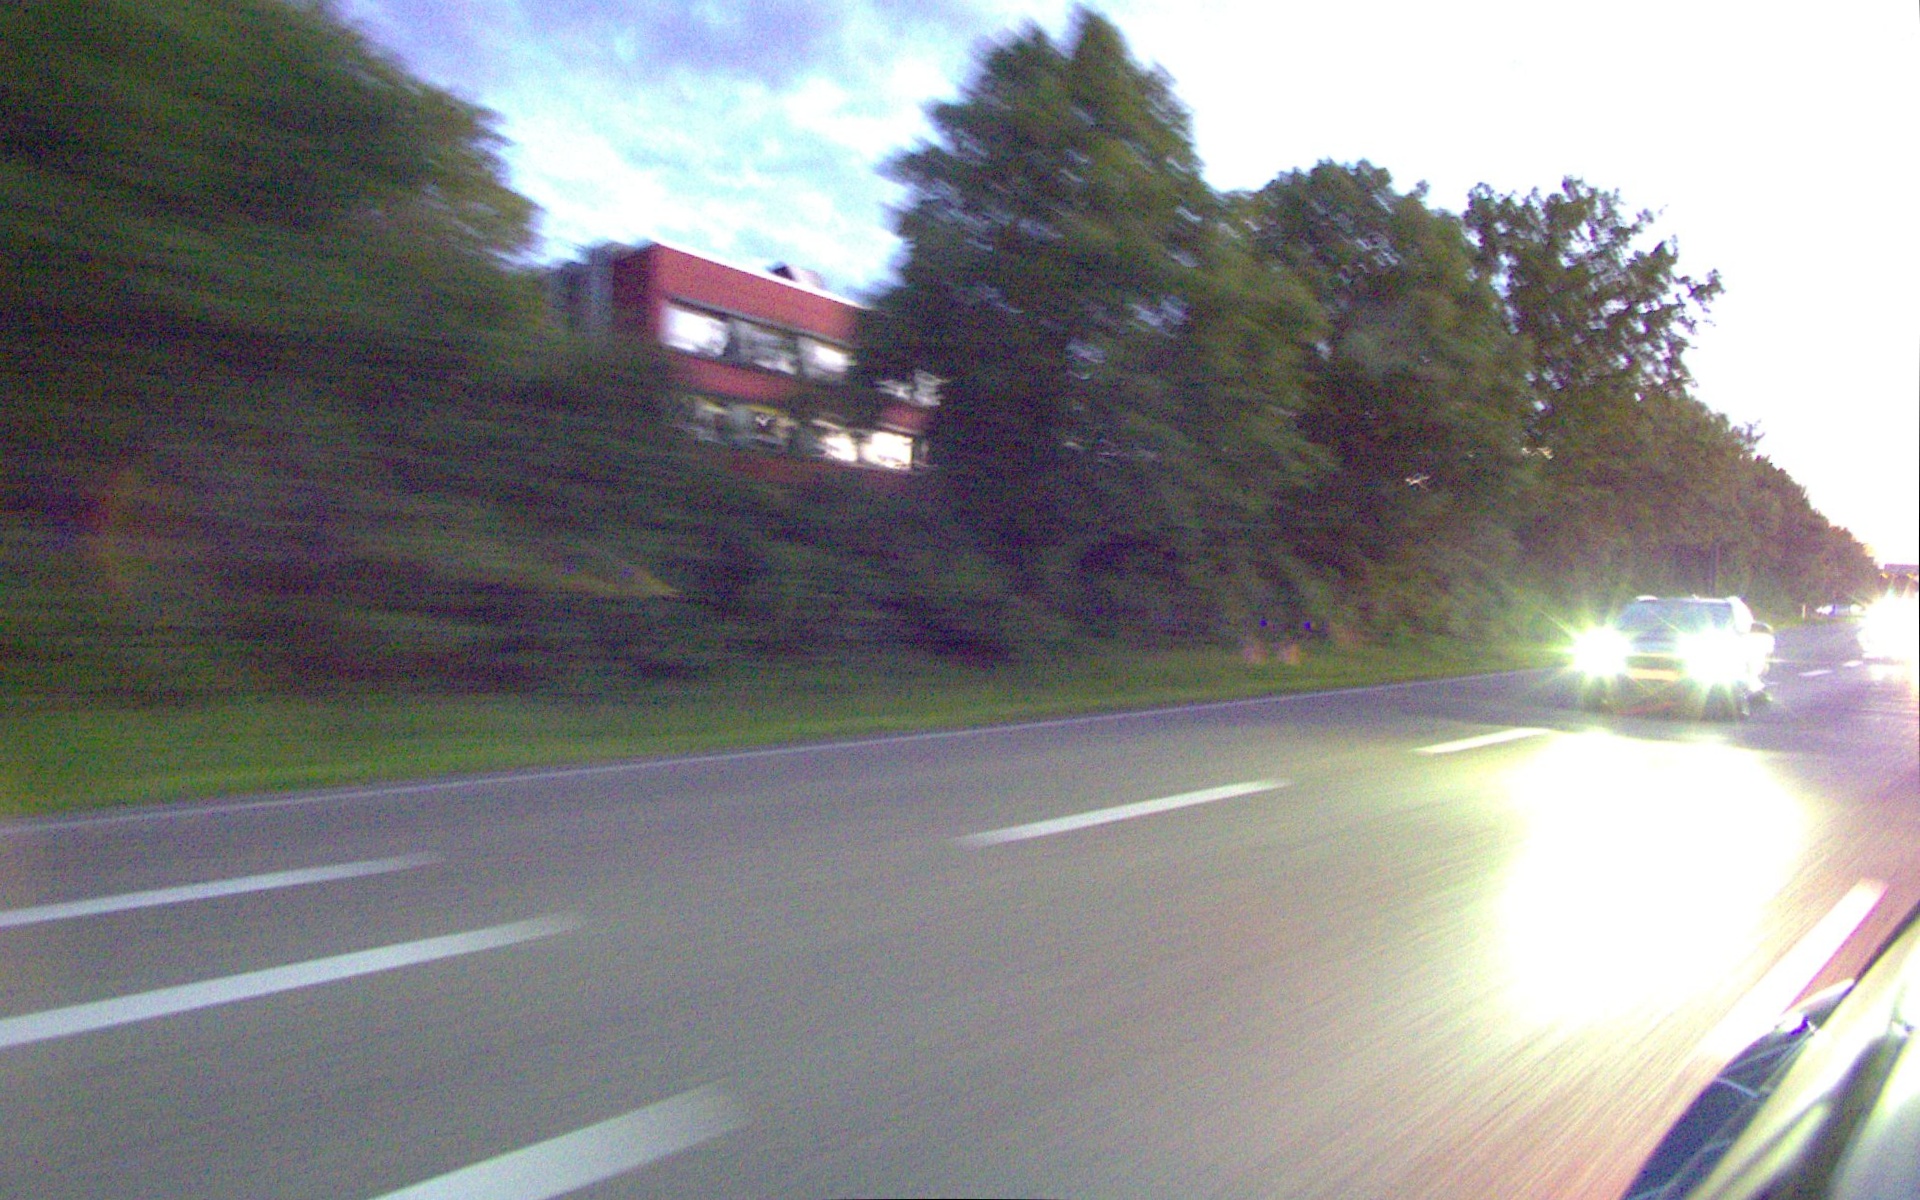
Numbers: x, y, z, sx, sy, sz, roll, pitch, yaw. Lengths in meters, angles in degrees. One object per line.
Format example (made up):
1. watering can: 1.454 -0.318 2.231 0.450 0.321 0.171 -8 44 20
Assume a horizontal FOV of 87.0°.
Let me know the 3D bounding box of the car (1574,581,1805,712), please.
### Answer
1. car: 10.857 0.578 14.924 4.633 1.630 1.995 0 0 -44
